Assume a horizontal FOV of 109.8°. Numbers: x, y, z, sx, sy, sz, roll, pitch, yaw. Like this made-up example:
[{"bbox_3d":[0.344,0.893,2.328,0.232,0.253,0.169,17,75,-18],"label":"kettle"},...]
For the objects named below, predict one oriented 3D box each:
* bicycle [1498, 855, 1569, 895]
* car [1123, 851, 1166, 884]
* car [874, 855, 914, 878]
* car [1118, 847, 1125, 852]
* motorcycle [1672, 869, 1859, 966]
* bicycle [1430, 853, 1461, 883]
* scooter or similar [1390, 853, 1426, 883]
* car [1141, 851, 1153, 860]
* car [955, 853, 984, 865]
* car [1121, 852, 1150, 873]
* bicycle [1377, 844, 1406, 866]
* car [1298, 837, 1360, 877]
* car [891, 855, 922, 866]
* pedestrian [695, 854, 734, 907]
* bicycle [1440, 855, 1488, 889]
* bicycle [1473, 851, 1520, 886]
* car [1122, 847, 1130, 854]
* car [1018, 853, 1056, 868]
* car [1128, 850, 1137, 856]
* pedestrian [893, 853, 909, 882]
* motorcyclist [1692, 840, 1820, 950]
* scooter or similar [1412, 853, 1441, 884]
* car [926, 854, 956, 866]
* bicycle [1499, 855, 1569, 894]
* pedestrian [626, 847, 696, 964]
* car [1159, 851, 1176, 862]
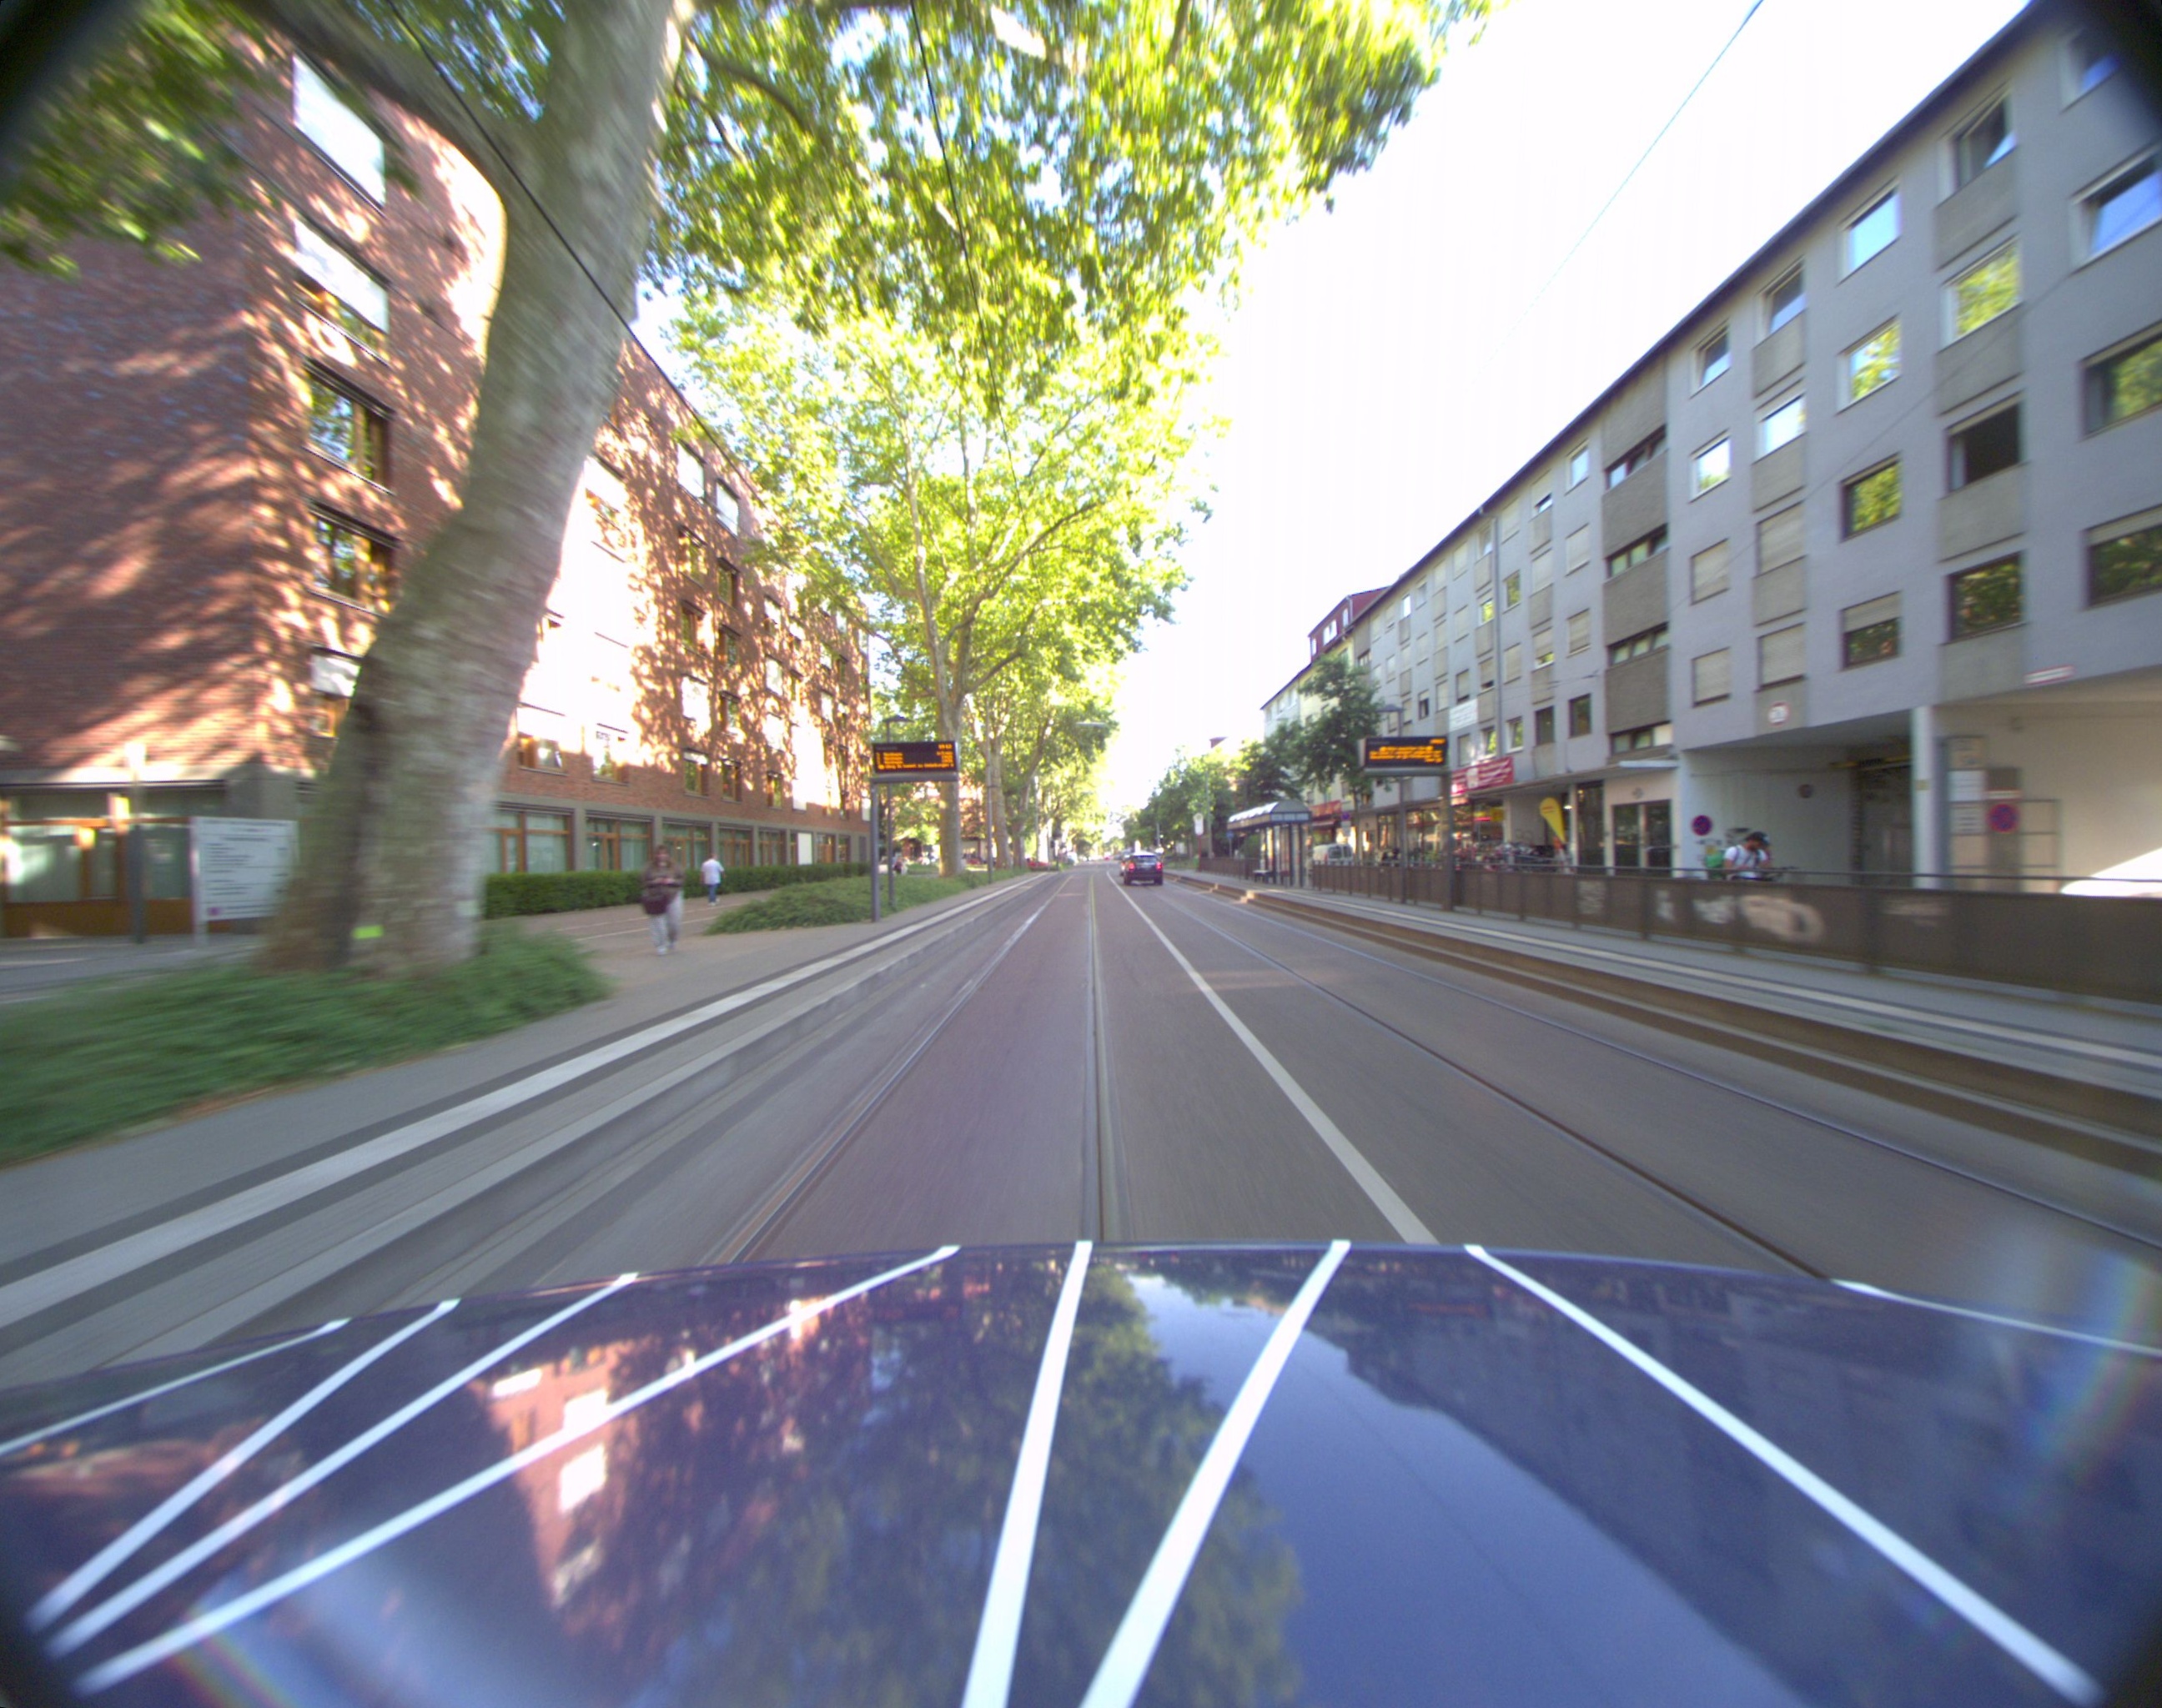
[{"bbox_3d":[13.642,0.614,22.990,0.561,1.150,2.028,-1,0,-15],"label":"bicycle"},{"bbox_3d":[3.139,0.634,38.220,1.766,1.579,3.999,-1,0,-1],"label":"car"},{"bbox_3d":[-12.643,0.809,51.643,1.657,1.499,3.961,-1,0,1],"label":"car"},{"bbox_3d":[12.305,-1.380,231.419,1.998,1.741,3.677,-1,0,0],"label":"car"},{"bbox_3d":[9.297,0.814,10.444,0.851,1.157,1.915,-1,0,0],"label":"motorcycle"},{"bbox_3d":[14.334,0.526,29.934,0.513,1.150,1.688,-1,0,4],"label":"bicycle"},{"bbox_3d":[13.221,0.554,30.709,0.447,1.167,1.272,-1,1,-36],"label":"scooter or similar"},{"bbox_3d":[12.073,0.231,138.582,1.998,1.521,3.678,-1,0,3],"label":"car"},{"bbox_3d":[-15.480,0.701,105.307,3.674,1.521,2.000,-1,0,2],"label":"car"},{"bbox_3d":[3.859,0.608,54.336,1.766,1.417,4.000,-1,0,1],"label":"car"},{"bbox_3d":[16.402,0.062,40.182,0.572,1.150,2.036,-1,0,-5],"label":"bicycle"},{"bbox_3d":[12.645,0.158,39.017,1.808,1.923,4.049,-1,0,-1],"label":"car"},{"bbox_3d":[-24.194,0.872,105.441,3.674,1.521,2.000,-1,0,2],"label":"car"},{"bbox_3d":[-11.803,0.843,24.489,0.768,1.650,0.917,-1,1,1],"label":"pedestrian"},{"bbox_3d":[13.796,0.629,27.442,0.572,1.150,2.036,-1,0,-5],"label":"bicycle"},{"bbox_3d":[13.912,0.465,25.509,0.494,1.150,1.751,-1,0,-5],"label":"bicycle"},{"bbox_3d":[12.580,-1.001,213.051,1.998,1.741,3.677,-1,0,0],"label":"car"},{"bbox_3d":[-4.706,0.719,81.144,3.872,1.521,2.000,-1,0,2],"label":"car"},{"bbox_3d":[12.972,-0.207,190.126,1.998,1.521,3.677,-1,0,0],"label":"car"},{"bbox_3d":[-10.816,0.809,45.673,0.710,1.681,0.748,-1,1,-1],"label":"pedestrian"},{"bbox_3d":[9.280,0.541,10.493,0.875,1.432,1.016,-1,1,0],"label":"motorcyclist"},{"bbox_3d":[13.343,0.556,29.390,0.446,1.167,1.274,-1,0,-5],"label":"scooter or similar"},{"bbox_3d":[-19.383,0.843,105.386,3.674,1.521,2.000,-1,0,2],"label":"car"},{"bbox_3d":[13.892,0.599,23.357,0.561,1.150,2.028,-1,0,-15],"label":"bicycle"},{"bbox_3d":[-6.260,0.729,11.308,0.770,1.650,0.914,-1,1,-37],"label":"pedestrian"},{"bbox_3d":[11.791,0.343,103.751,1.998,1.521,3.678,-1,0,3],"label":"car"}]
